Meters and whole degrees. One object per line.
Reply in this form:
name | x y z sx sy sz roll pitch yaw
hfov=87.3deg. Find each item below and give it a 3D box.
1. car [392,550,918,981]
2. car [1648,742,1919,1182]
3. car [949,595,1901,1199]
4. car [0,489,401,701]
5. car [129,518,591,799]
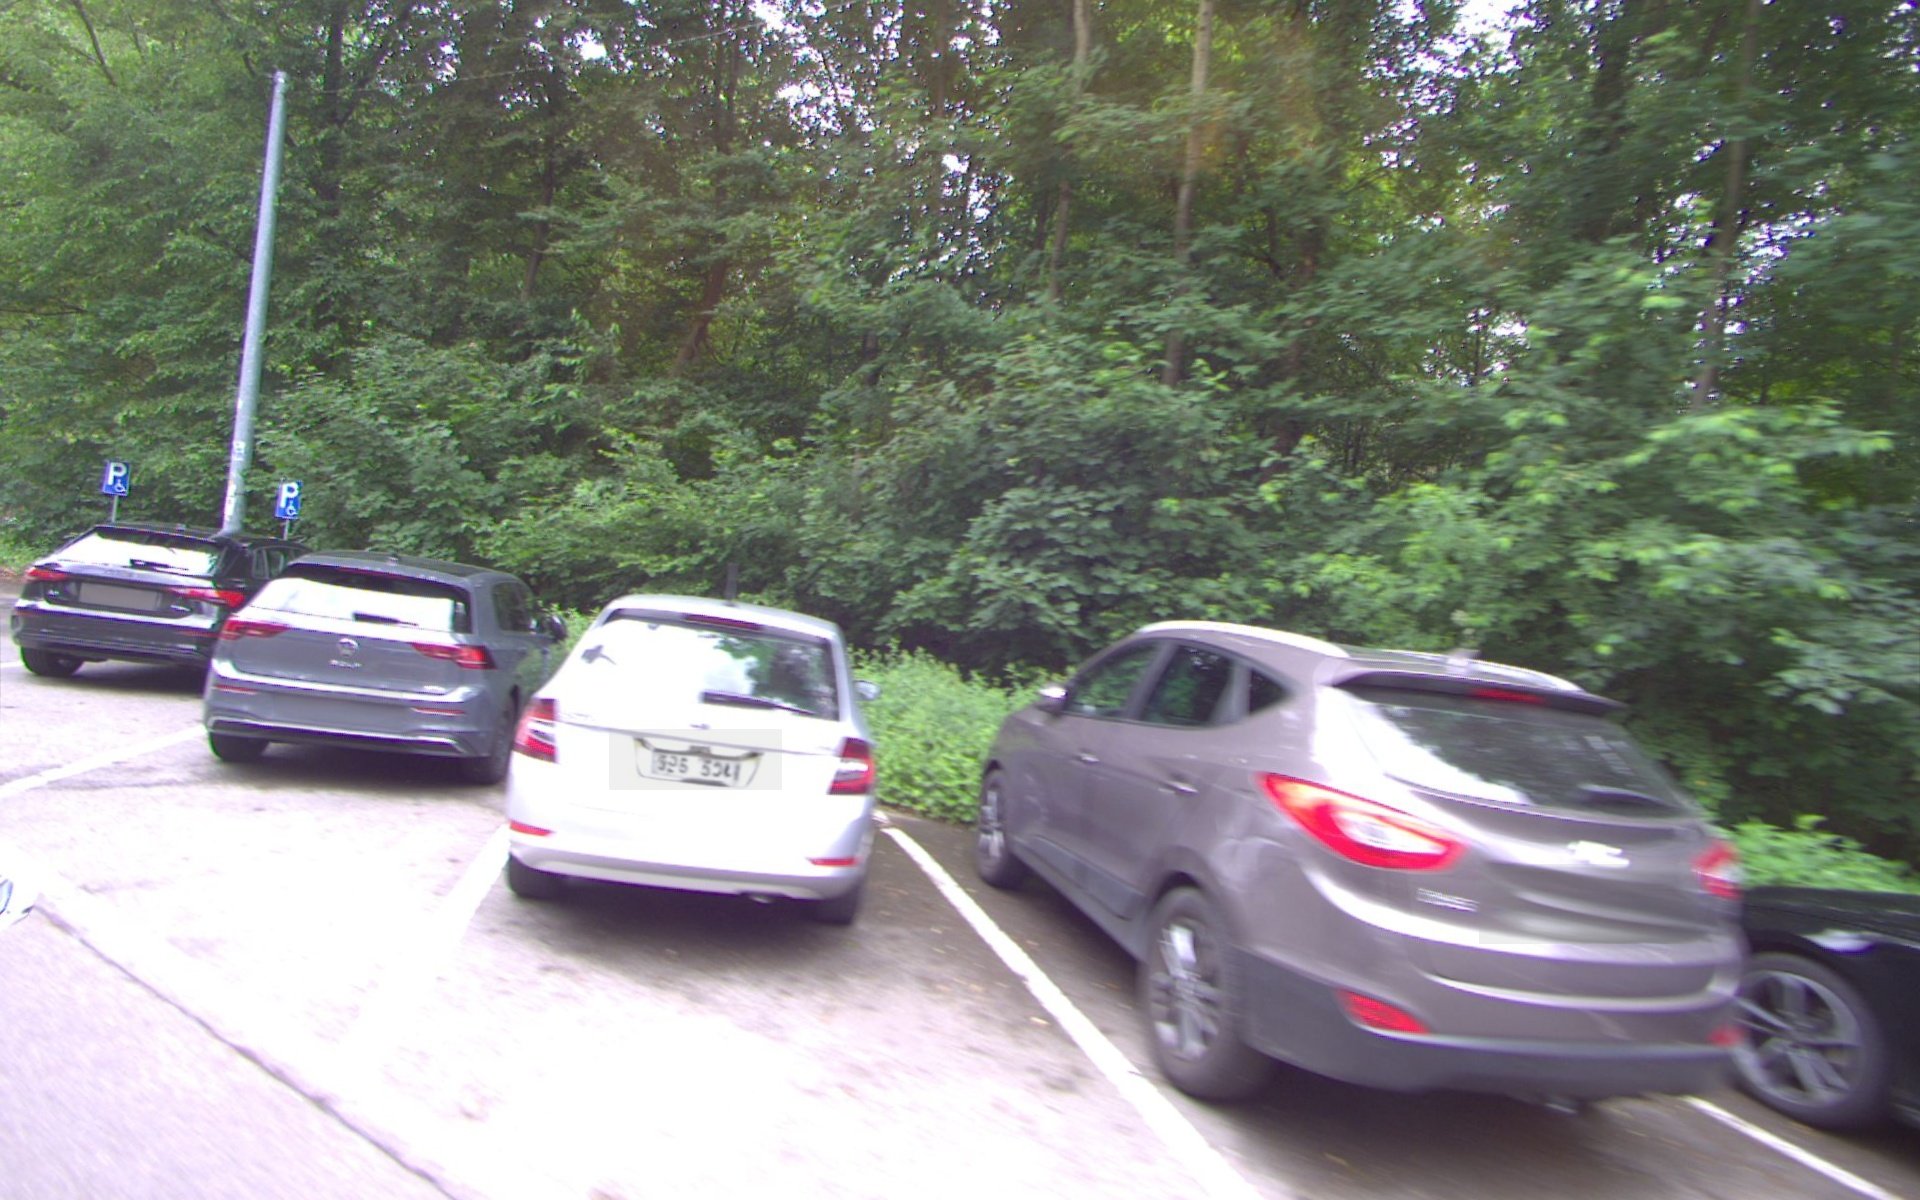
car | -1.466 0.668 5.877 1.804 1.484 3.994 8 -1 -9
car | 4.649 1.481 2.722 1.936 1.394 4.250 8 -1 -16
car | 1.449 0.929 5.010 1.934 1.656 4.252 8 -1 -13
car | -7.405 -0.038 10.121 1.869 1.479 4.195 8 -2 -13
car | -4.209 0.366 7.890 1.880 1.439 3.990 8 -1 -14
